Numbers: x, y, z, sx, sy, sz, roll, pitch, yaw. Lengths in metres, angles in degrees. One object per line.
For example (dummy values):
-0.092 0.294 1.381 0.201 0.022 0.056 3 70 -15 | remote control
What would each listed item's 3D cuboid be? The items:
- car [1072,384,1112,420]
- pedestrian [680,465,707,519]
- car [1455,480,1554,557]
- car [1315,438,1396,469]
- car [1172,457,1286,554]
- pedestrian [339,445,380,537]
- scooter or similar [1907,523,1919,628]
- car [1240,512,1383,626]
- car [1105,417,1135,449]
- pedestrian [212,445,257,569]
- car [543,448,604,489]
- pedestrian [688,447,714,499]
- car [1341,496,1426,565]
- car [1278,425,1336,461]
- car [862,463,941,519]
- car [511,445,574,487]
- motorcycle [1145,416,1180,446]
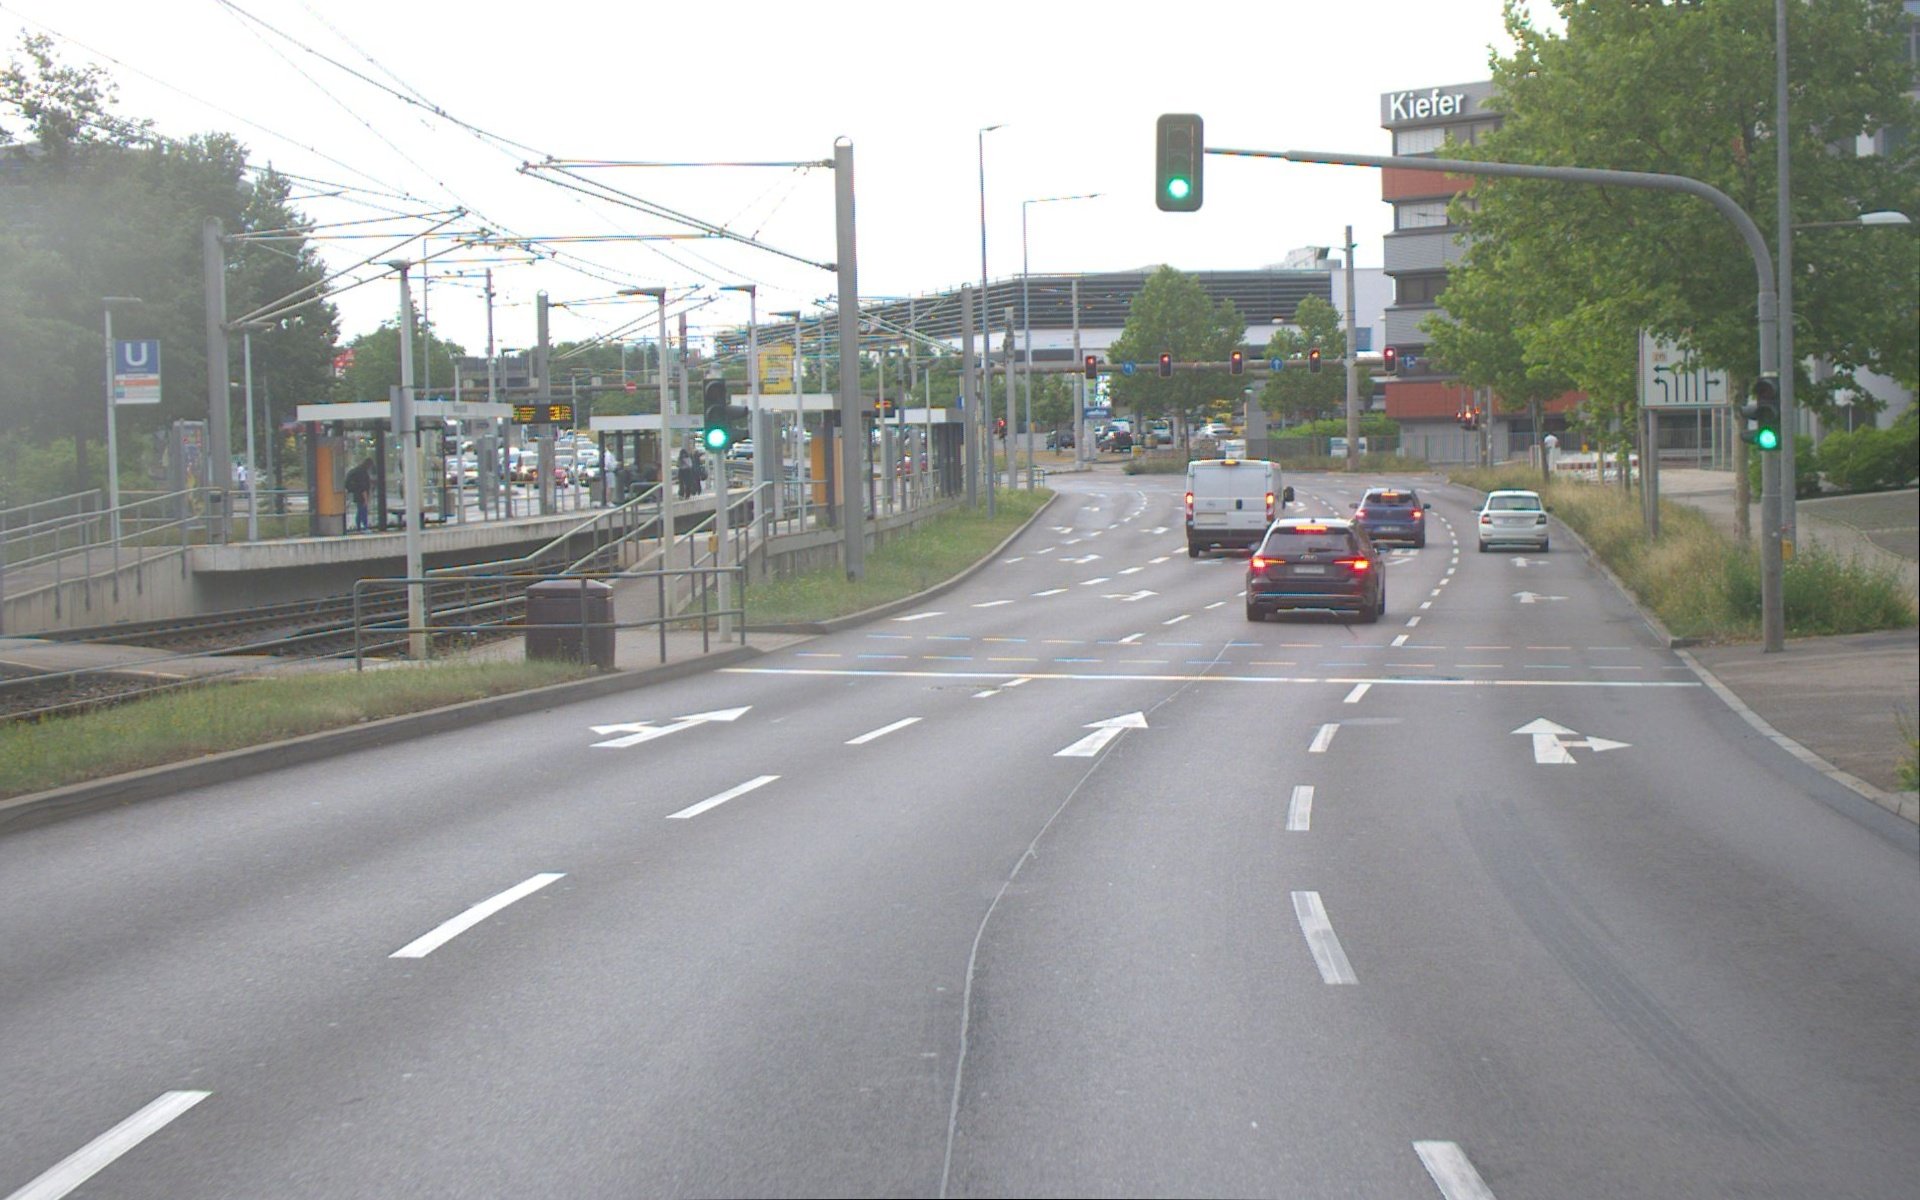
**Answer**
8.420 -12.663 219.723 1.993 2.007 4.001 0 0 -7 | car
-8.571 -3.480 110.737 0.729 1.709 0.831 0 1 5 | pedestrian
13.188 -2.000 83.447 2.021 1.763 4.000 0 3 4 | car
20.811 -7.693 180.945 2.021 1.617 4.000 -1 2 -36 | car
6.327 -2.237 80.337 2.512 2.169 5.149 0 2 6 | car
-12.170 -2.204 69.716 0.637 1.848 0.751 0 -1 4 | pedestrian
11.690 -0.293 40.871 0.457 1.259 1.337 -3 1 1 | scooter or similar
5.010 -0.480 48.572 1.765 1.458 4.625 1 2 9 | car
10.911 -11.429 235.237 1.817 2.007 3.471 0 0 -1 | car
-11.501 -1.468 54.507 0.549 1.946 0.664 0 -1 0 | pedestrian
-20.641 -6.997 183.503 1.993 2.007 4.000 1 -1 -27 | car
-8.818 -4.321 117.095 0.752 1.745 0.764 0 -1 5 | pedestrian
10.594 -1.722 86.277 2.021 1.617 3.999 0 0 6 | car
21.503 -9.703 213.153 1.993 2.007 4.001 0 -1 -20 | car
-1.722 -3.274 102.467 1.994 1.447 3.848 0 5 4 | car
-21.937 -7.029 180.561 1.993 2.007 4.000 1 -1 -27 | car
15.214 -12.676 258.648 1.993 2.007 4.001 0 0 -6 | motorcycle
